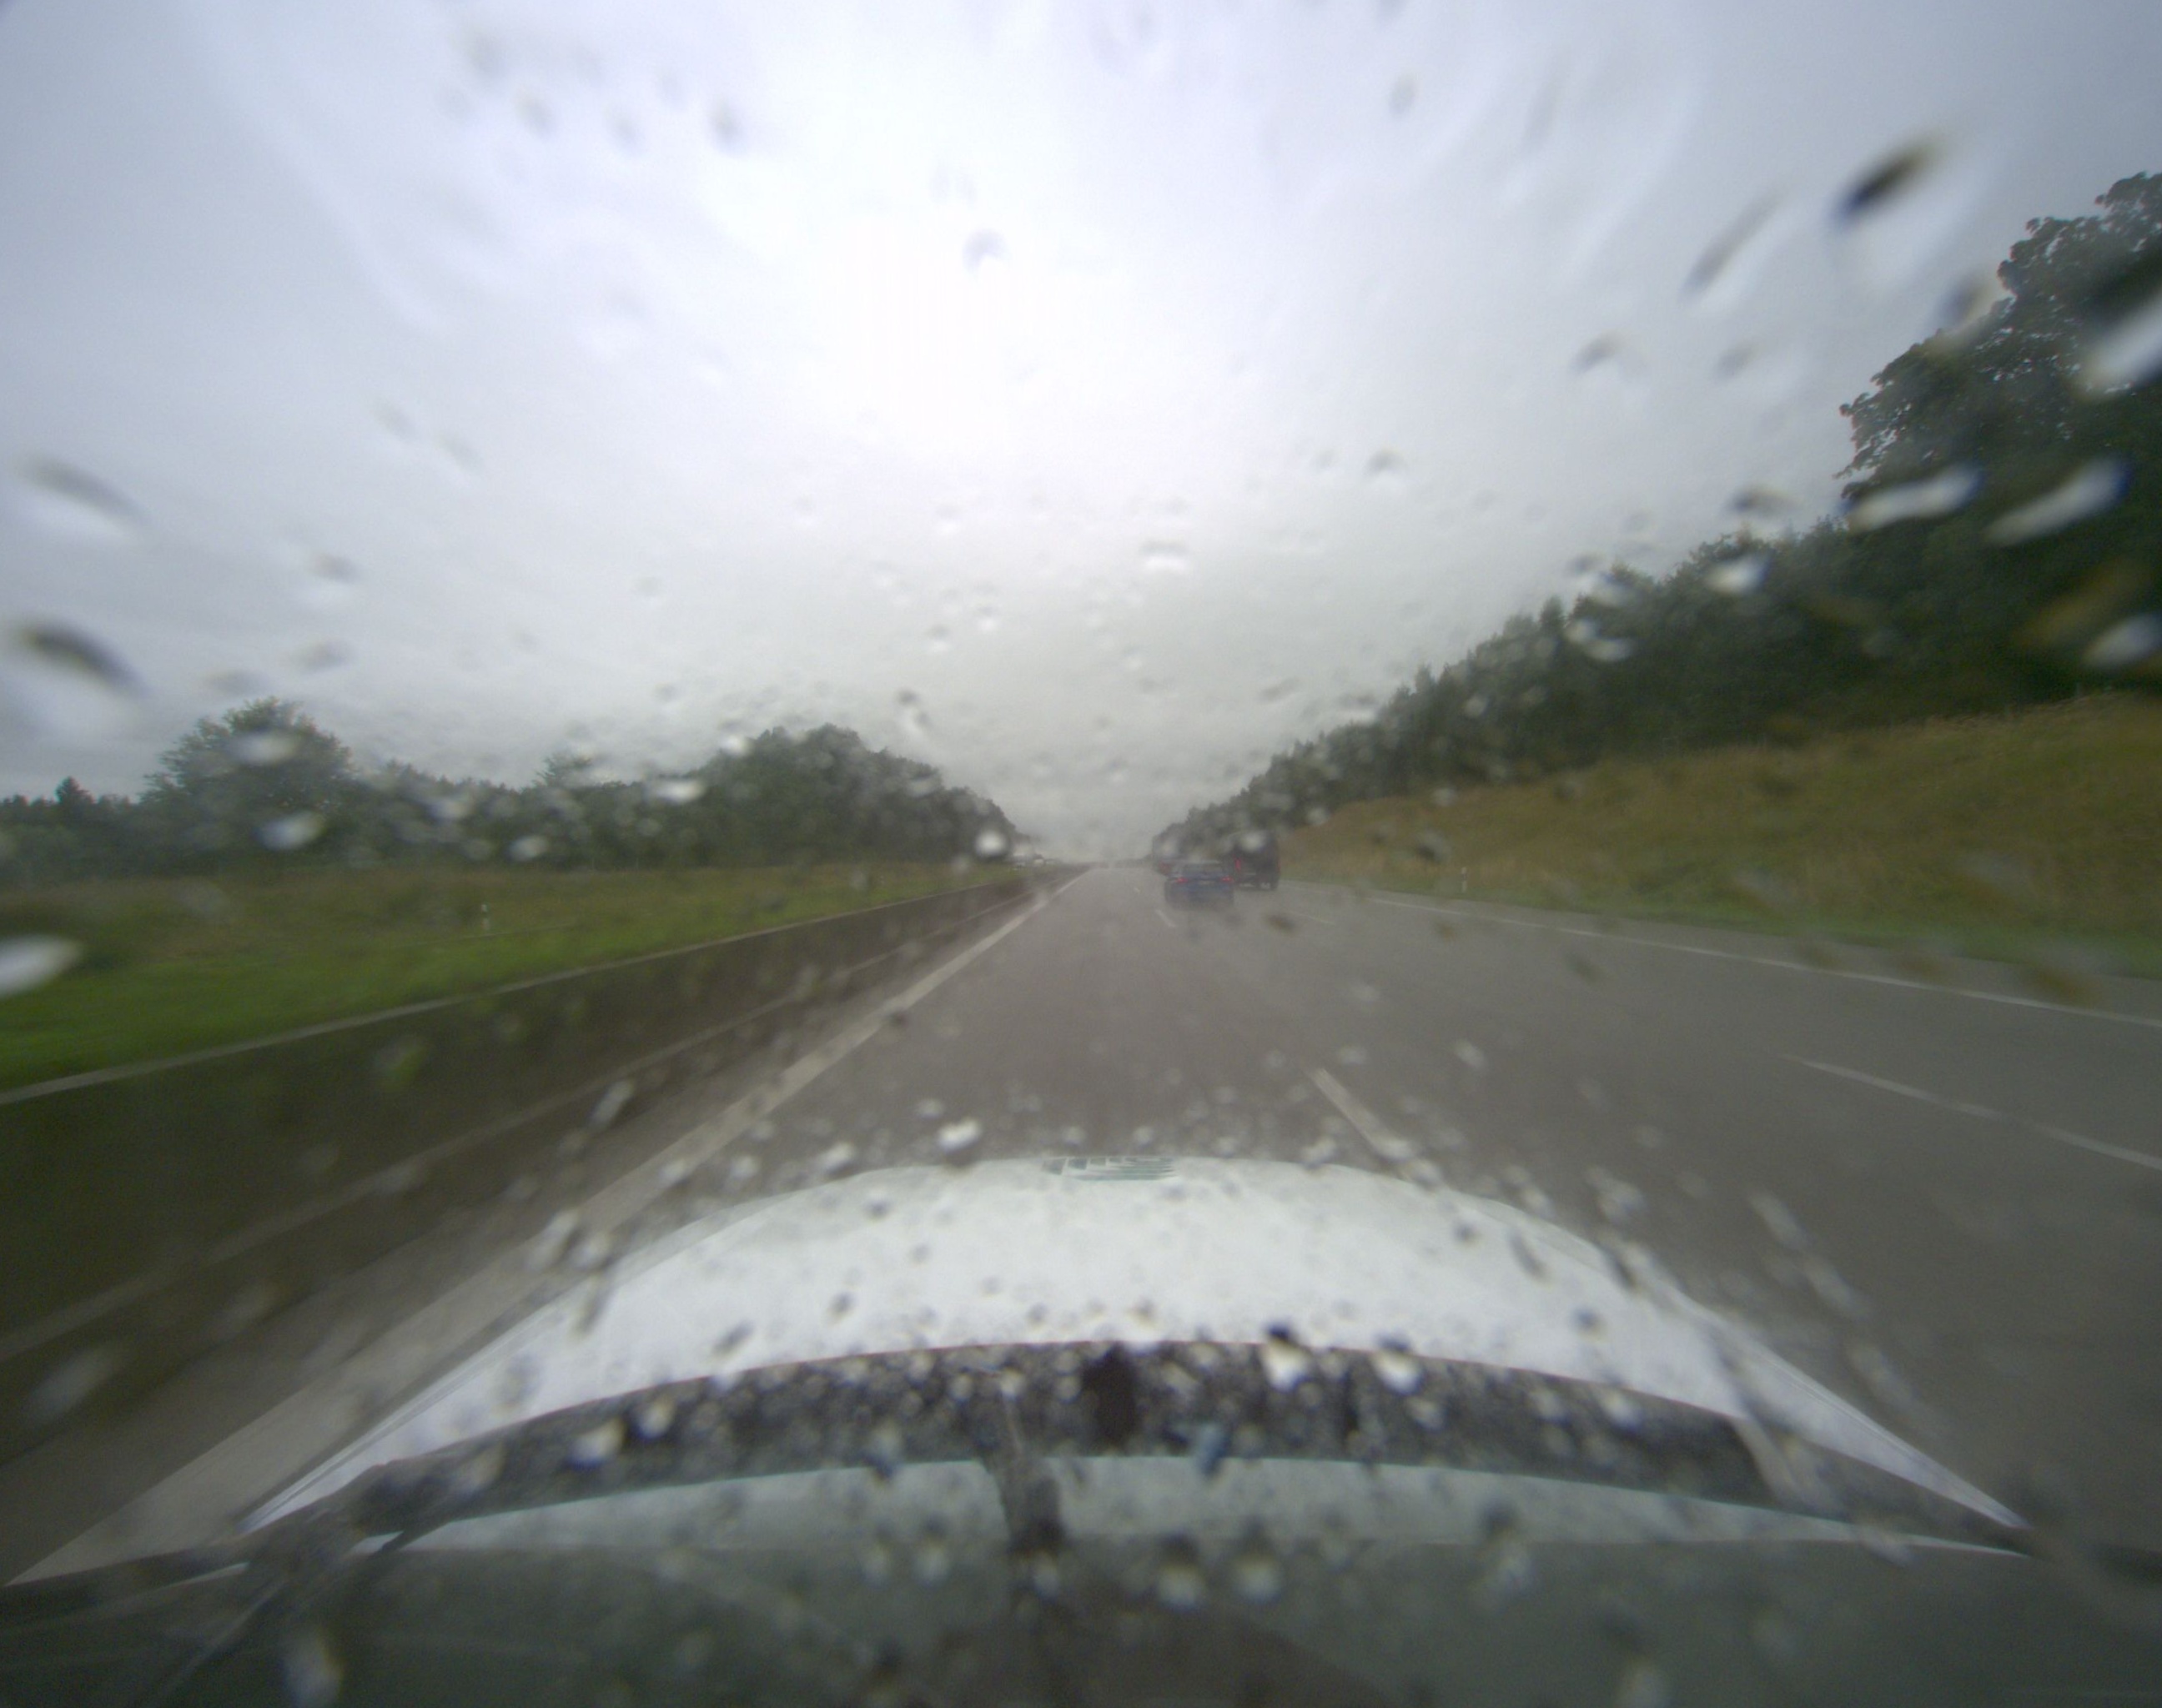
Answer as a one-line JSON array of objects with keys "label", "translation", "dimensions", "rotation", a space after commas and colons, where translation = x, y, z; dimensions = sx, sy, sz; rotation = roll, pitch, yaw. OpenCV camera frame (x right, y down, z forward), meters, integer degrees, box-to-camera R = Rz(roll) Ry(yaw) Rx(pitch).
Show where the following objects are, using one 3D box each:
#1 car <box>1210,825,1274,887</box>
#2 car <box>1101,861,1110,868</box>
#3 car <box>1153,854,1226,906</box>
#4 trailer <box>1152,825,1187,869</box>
[{"label": "car", "translation": [7.516, 0.113, 38.635], "dimensions": [1.933, 2.659, 6.589], "rotation": [0, 0, 2]}, {"label": "car", "translation": [4.894, 2.083, 161.050], "dimensions": [1.723, 1.331, 4.430], "rotation": [-1, -1, 1]}, {"label": "car", "translation": [3.350, 0.827, 25.939], "dimensions": [1.723, 1.459, 4.672], "rotation": [-2, -2, 1]}, {"label": "trailer", "translation": [9.547, -0.602, 89.168], "dimensions": [2.696, 4.380, 15.210], "rotation": [-1, -1, 2]}]
